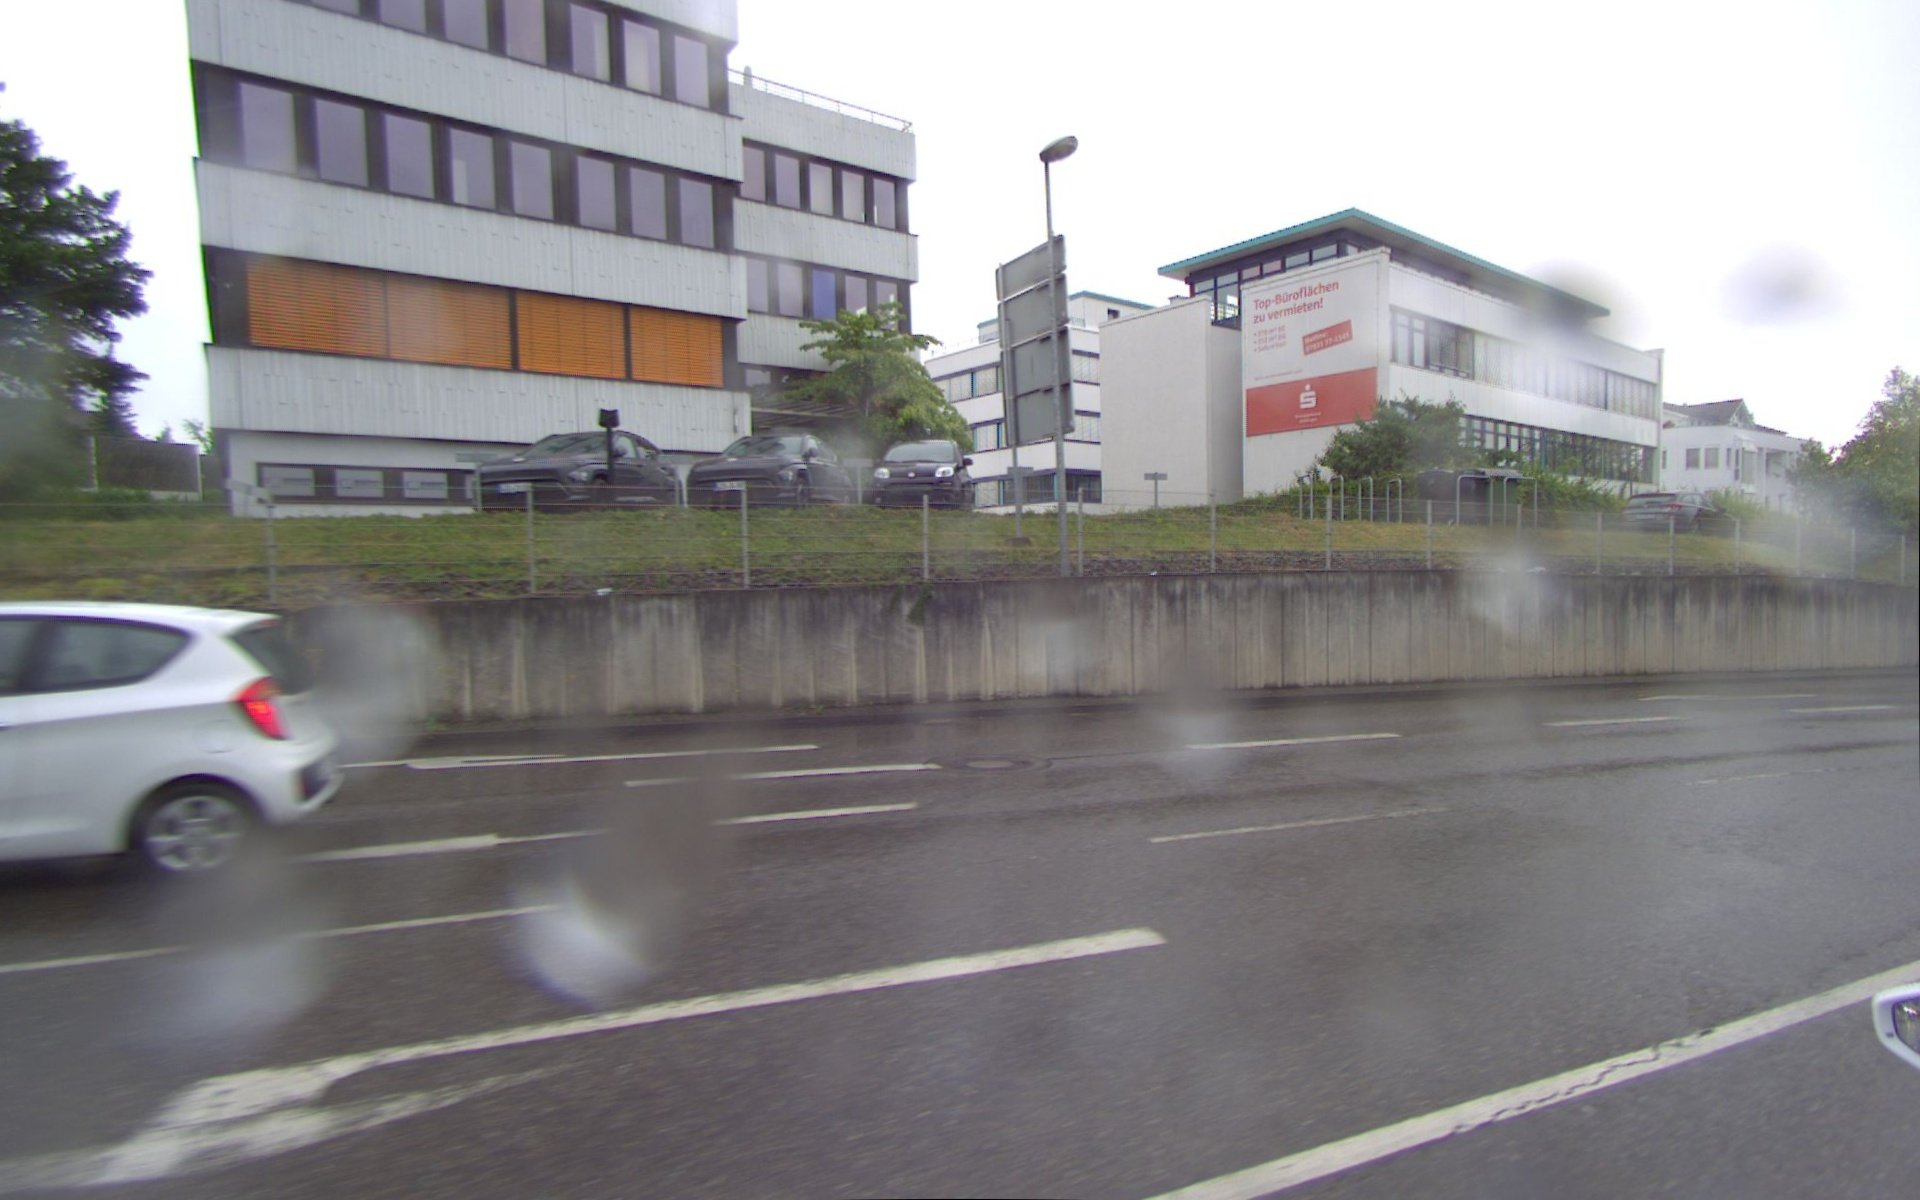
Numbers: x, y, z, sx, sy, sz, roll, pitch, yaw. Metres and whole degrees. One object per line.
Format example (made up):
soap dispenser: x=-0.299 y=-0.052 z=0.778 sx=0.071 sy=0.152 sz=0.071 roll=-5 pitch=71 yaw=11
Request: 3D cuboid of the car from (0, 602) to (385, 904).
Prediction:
car: x=-5.404 y=0.753 z=5.499 sx=3.740 sy=1.448 sz=1.648 roll=0 pitch=1 yaw=-25

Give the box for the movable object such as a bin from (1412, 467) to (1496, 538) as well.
movable object such as a bin: x=11.191 y=-2.174 z=22.774 sx=1.430 sy=1.456 sz=1.077 roll=1 pitch=2 yaw=-32

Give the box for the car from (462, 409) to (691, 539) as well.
car: x=-5.890 y=-1.878 z=15.997 sx=1.864 sy=1.607 sz=4.001 roll=2 pitch=2 yaw=4

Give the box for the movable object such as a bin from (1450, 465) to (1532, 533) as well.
movable object such as a bin: x=12.433 y=-2.339 z=23.542 sx=1.430 sy=1.456 sz=1.077 roll=1 pitch=2 yaw=-32

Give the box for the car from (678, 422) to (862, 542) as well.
car: x=-3.065 y=-1.900 z=17.072 sx=1.864 sy=1.607 sz=4.002 roll=2 pitch=2 yaw=8

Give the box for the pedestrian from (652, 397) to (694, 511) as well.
pedestrian: x=-4.174 y=-2.115 z=14.631 sx=0.492 sy=1.571 sz=0.520 roll=1 pitch=1 yaw=-6

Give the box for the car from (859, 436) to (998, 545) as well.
car: x=-0.451 y=-1.910 z=18.501 sx=1.864 sy=1.607 sz=4.002 roll=2 pitch=2 yaw=8

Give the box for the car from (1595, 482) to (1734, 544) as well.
car: x=20.071 y=-2.416 z=28.596 sx=3.955 sy=1.461 sz=1.817 roll=1 pitch=2 yaw=-32
